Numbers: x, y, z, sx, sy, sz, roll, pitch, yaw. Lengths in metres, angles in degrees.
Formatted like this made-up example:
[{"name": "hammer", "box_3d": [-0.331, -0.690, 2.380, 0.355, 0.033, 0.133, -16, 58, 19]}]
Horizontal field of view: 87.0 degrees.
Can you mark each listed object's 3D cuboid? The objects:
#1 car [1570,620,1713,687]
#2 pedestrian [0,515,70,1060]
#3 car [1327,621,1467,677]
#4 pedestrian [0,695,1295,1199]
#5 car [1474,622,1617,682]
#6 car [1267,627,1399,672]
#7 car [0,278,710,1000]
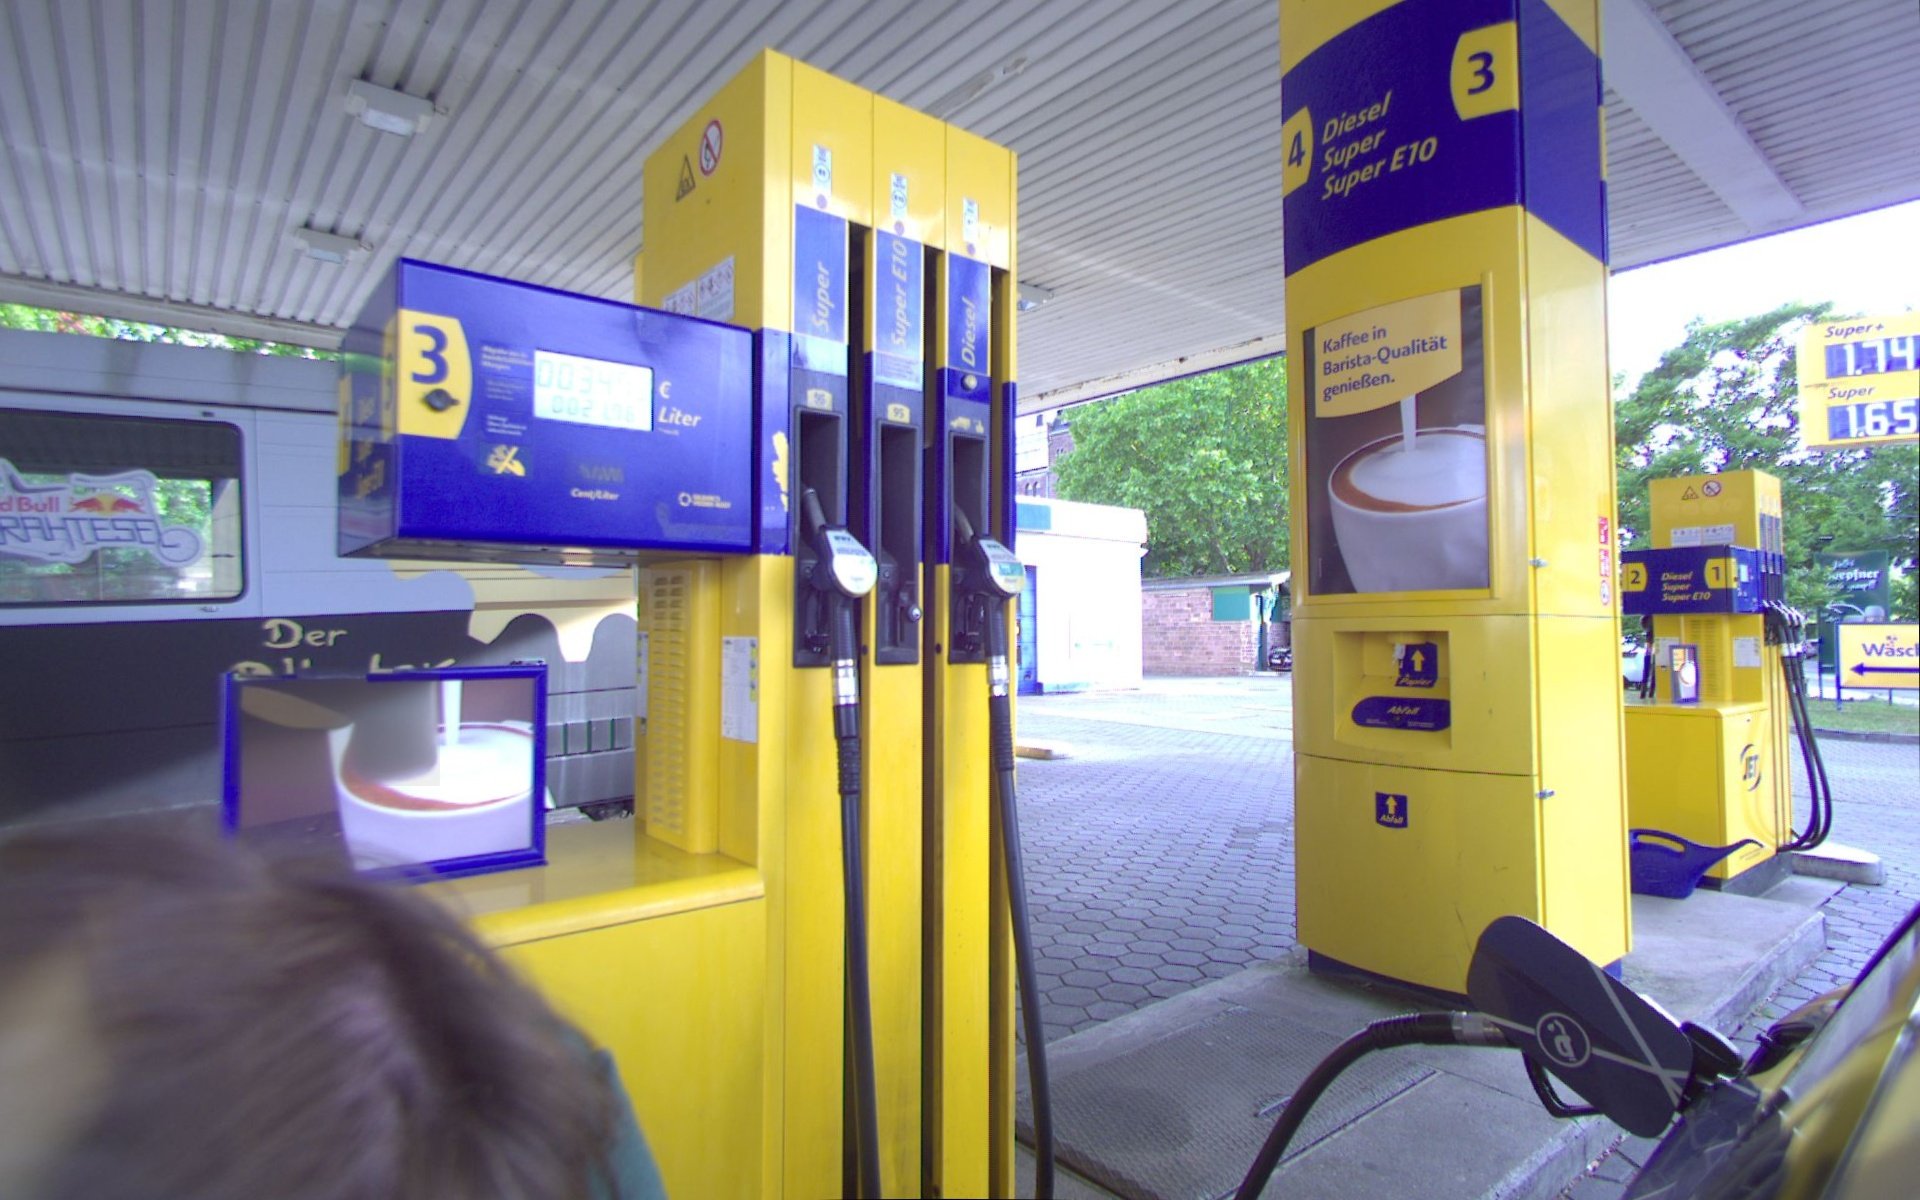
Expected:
[{"name": "car", "box_3d": [18.356, 1.455, 27.201, 4.308, 1.622, 1.774, 4, -4, -35]}, {"name": "pedestrian", "box_3d": [-3.585, 0.618, 3.115, 0.959, 1.785, 0.982, 0, 0, -18]}, {"name": "car", "box_3d": [13.886, 1.540, 32.134, 4.303, 1.622, 1.777, 2, -1, -28]}, {"name": "pedestrian", "box_3d": [-0.331, 0.752, 0.542, 0.662, 1.298, 0.751, 0, 0, -41]}, {"name": "car", "box_3d": [17.846, 1.599, 30.800, 4.303, 1.622, 1.776, 4, -4, -28]}, {"name": "car", "box_3d": [12.689, 1.664, 34.426, 4.303, 1.393, 1.777, 2, -1, -28]}, {"name": "car", "box_3d": [-4.106, 0.165, 4.889, 5.197, 2.726, 2.258, 1, -2, -39]}]
